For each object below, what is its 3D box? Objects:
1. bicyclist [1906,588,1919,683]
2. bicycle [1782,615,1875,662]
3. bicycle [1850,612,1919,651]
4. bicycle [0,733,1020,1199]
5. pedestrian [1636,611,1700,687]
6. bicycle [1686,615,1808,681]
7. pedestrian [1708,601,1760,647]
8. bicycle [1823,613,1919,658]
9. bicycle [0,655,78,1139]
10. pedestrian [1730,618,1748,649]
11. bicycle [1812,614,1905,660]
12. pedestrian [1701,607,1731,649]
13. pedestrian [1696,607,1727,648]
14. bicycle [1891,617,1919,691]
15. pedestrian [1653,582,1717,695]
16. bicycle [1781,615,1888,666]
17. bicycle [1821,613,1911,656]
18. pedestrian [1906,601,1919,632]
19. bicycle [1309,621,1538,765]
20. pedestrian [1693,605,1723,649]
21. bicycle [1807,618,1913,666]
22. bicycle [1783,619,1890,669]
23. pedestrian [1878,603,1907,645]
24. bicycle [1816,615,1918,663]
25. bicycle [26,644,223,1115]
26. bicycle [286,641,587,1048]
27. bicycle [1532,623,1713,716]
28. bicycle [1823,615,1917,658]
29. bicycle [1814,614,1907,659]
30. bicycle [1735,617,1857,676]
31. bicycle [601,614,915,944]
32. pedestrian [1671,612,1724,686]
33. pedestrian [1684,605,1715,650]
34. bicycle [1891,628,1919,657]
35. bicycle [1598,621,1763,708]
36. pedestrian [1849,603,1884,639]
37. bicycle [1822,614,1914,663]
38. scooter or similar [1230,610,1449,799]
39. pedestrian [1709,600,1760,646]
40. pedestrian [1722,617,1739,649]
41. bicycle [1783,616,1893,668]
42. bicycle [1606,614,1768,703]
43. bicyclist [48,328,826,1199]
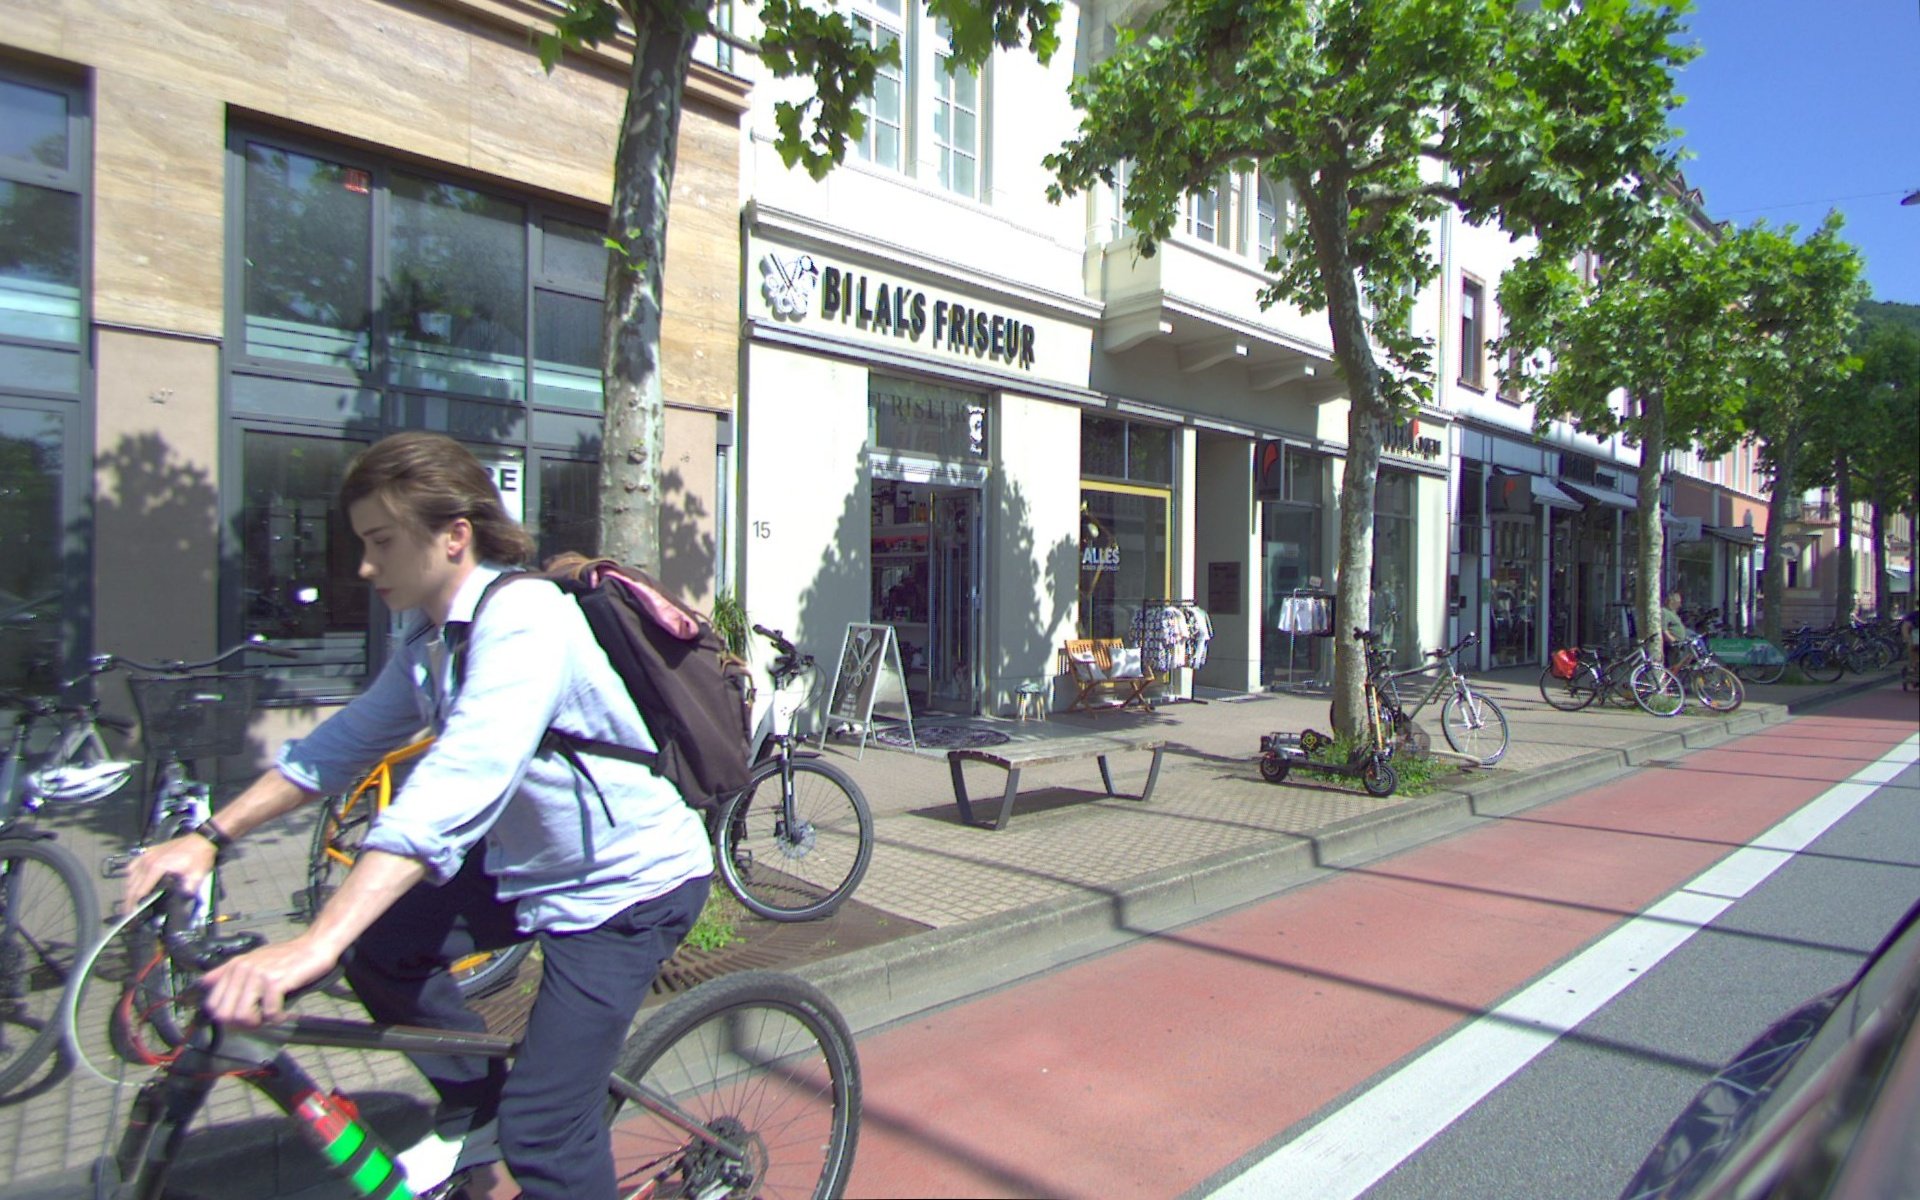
[{"bbox_3d":[17.533,0.637,18.054,0.759,1.694,0.734,1,1,-30],"label":"bicyclist"},{"bbox_3d":[22.317,0.980,26.028,1.818,1.141,0.446,0,1,13],"label":"bicycle"},{"bbox_3d":[29.670,0.991,32.290,0.654,1.141,1.844,0,1,-38],"label":"bicycle"},{"bbox_3d":[-0.853,0.898,1.561,2.047,1.141,0.698,0,-1,-44],"label":"bicycle"},{"bbox_3d":[12.262,0.830,17.525,0.566,1.259,0.788,-1,0,-43],"label":"pedestrian"},{"bbox_3d":[15.210,0.910,19.614,1.760,1.212,0.573,0,-1,23],"label":"bicycle"},{"bbox_3d":[25.781,0.788,33.714,0.776,1.440,1.234,-1,1,-43],"label":"pedestrian"},{"bbox_3d":[25.690,0.986,28.470,0.746,1.141,1.995,-1,1,-28],"label":"bicycle"},{"bbox_3d":[-3.036,0.774,3.098,0.395,1.123,1.732,1,0,-38],"label":"bicycle"},{"bbox_3d":[24.465,1.044,31.764,0.429,0.980,0.365,1,-1,-39],"label":"pedestrian"},{"bbox_3d":[24.190,0.967,27.277,0.440,1.141,1.845,-1,1,-37],"label":"bicycle"},{"bbox_3d":[24.143,0.885,32.333,0.598,1.268,0.640,-1,3,-43],"label":"pedestrian"},{"bbox_3d":[23.710,0.863,31.935,0.523,1.269,0.682,1,1,-43],"label":"pedestrian"},{"bbox_3d":[17.542,0.961,18.046,2.236,1.285,0.735,2,-2,-30],"label":"bicycle"},{"bbox_3d":[11.375,0.594,15.883,0.829,1.711,0.639,2,-3,-43],"label":"pedestrian"},{"bbox_3d":[20.832,0.970,24.161,1.835,1.141,0.755,-2,-1,37],"label":"bicycle"},{"bbox_3d":[26.222,0.992,29.316,0.667,1.141,1.845,-2,2,-36],"label":"bicycle"},{"bbox_3d":[57.821,1.000,61.155,0.754,1.813,0.840,0,1,-40],"label":"pedestrian"},{"bbox_3d":[4.261,0.802,9.449,0.657,1.201,1.845,0,-1,-35],"label":"bicycle"},{"bbox_3d":[23.326,0.835,31.561,0.523,1.355,0.682,1,0,-43],"label":"pedestrian"},{"bbox_3d":[21.773,1.001,24.524,0.554,1.107,1.843,0,-1,-40],"label":"bicycle"},{"bbox_3d":[20.373,1.013,23.574,1.837,1.107,0.556,-1,-1,40],"label":"bicycle"},{"bbox_3d":[38.087,0.992,41.326,0.773,1.679,0.642,3,-2,-26],"label":"pedestrian"},{"bbox_3d":[22.760,0.963,25.420,1.818,1.141,0.591,0,1,14],"label":"bicycle"},{"bbox_3d":[-2.746,0.745,3.385,0.395,1.123,1.732,1,0,-38],"label":"bicycle"},{"bbox_3d":[-2.082,0.757,3.896,0.722,1.123,1.732,1,0,-38],"label":"bicycle"},{"bbox_3d":[8.748,0.878,13.436,0.779,1.111,1.846,0,-1,-35],"label":"bicycle"},{"bbox_3d":[25.174,1.009,28.030,0.519,1.141,1.848,0,-1,-28],"label":"bicycle"},{"bbox_3d":[24.517,0.967,27.589,0.440,1.141,1.845,-1,1,-37],"label":"bicycle"},{"bbox_3d":[16.749,0.934,20.322,1.838,1.142,0.490,-2,-4,42],"label":"bicycle"},{"bbox_3d":[-1.072,0.714,4.958,0.722,1.264,1.936,1,0,-38],"label":"bicycle"},{"bbox_3d":[12.886,0.842,17.689,0.587,1.248,0.639,-1,0,-43],"label":"pedestrian"},{"bbox_3d":[22.833,0.840,31.236,0.523,1.350,0.682,1,-1,-43],"label":"pedestrian"},{"bbox_3d":[32.895,1.385,34.325,1.018,0.395,1.854,-44,18,-33],"label":"bicycle"},{"bbox_3d":[10.136,0.872,14.310,0.487,1.141,1.847,0,-1,-29],"label":"bicycle"},{"bbox_3d":[43.704,0.986,48.811,0.892,1.631,0.970,1,3,21],"label":"pedestrian"},{"bbox_3d":[23.445,0.976,26.176,0.439,1.141,1.850,0,1,-13],"label":"bicycle"},{"bbox_3d":[2.863,0.732,7.773,0.656,1.291,1.481,0,-1,-29],"label":"scooter or similar"},{"bbox_3d":[26.317,0.767,34.393,0.823,1.502,1.253,0,0,-43],"label":"pedestrian"},{"bbox_3d":[23.907,1.027,31.411,0.429,0.980,0.342,1,-1,-39],"label":"pedestrian"},{"bbox_3d":[20.068,0.949,23.175,1.836,1.141,0.623,-2,-2,39],"label":"bicycle"},{"bbox_3d":[10.818,0.832,15.128,0.660,1.212,1.846,0,-1,-33],"label":"bicycle"},{"bbox_3d":[-0.805,0.456,1.617,0.945,1.464,0.699,1,-2,-44],"label":"bicyclist"}]
